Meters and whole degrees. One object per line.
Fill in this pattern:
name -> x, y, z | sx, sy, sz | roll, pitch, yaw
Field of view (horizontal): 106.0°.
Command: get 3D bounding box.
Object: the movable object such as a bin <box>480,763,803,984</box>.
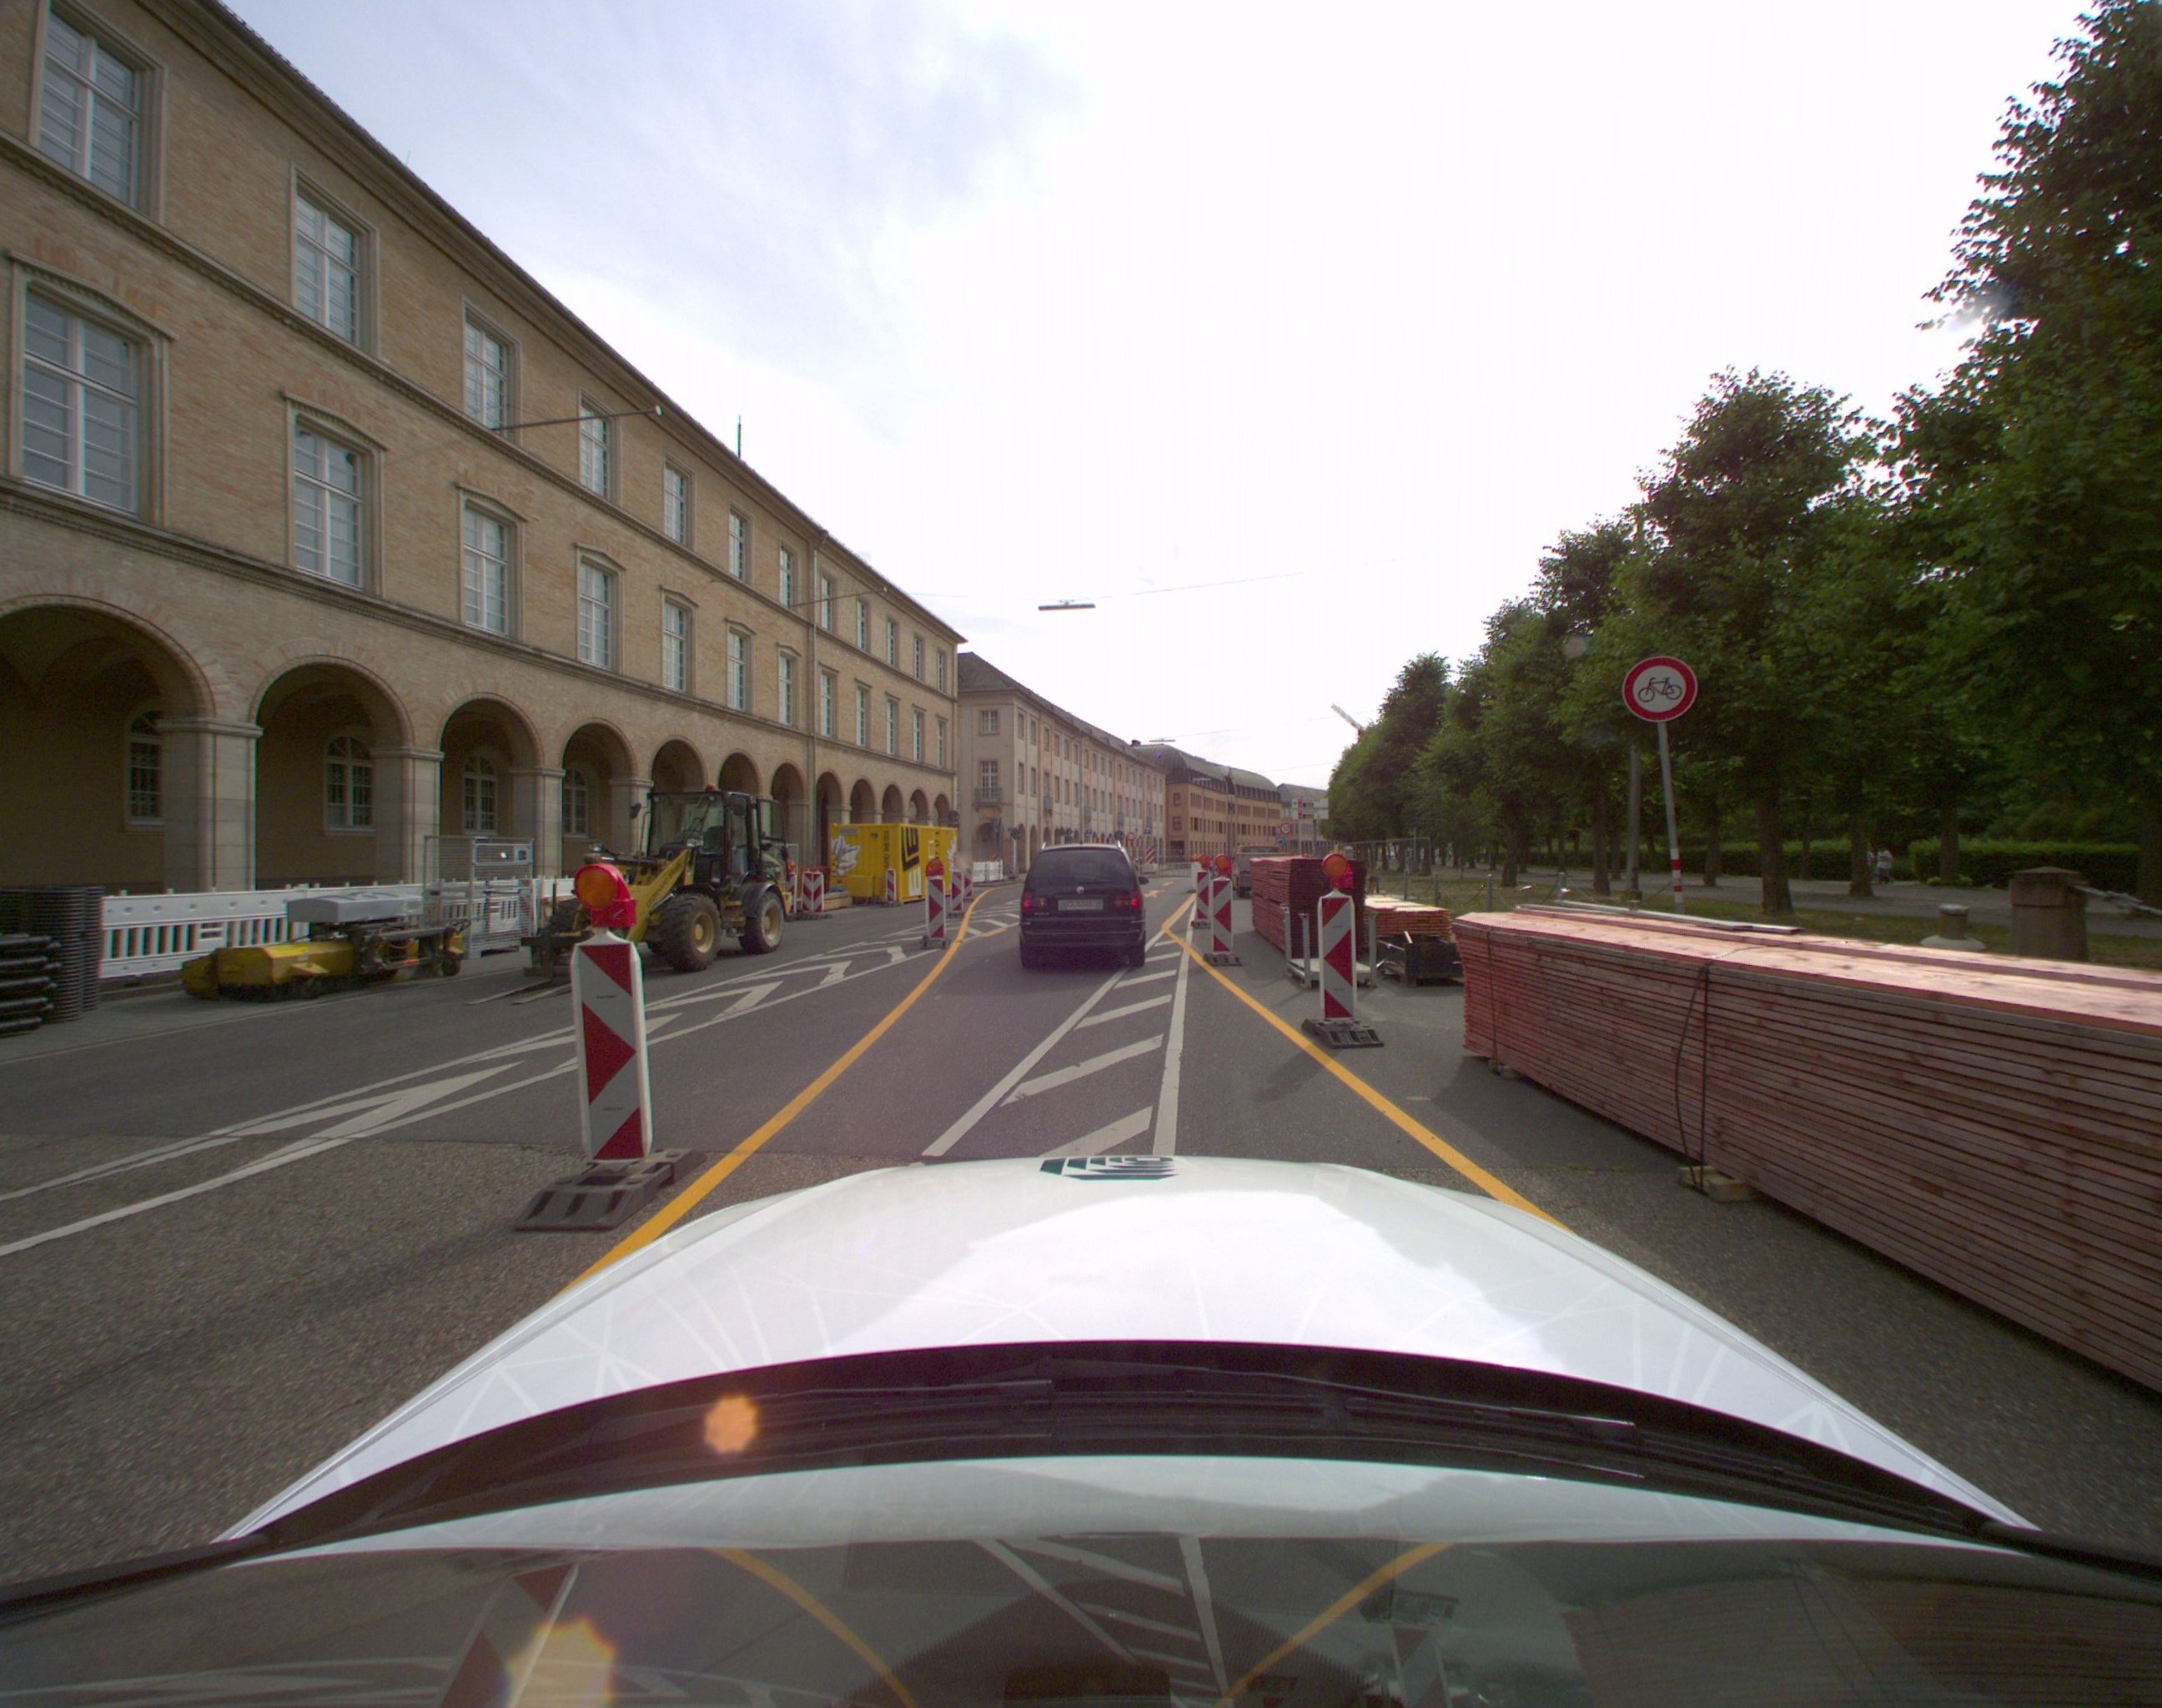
movable object such as a bin -> -6.249, 0.260, 12.390 | 2.106, 2.718, 4.625 | -1, 0, 4

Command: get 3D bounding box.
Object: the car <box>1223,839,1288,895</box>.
car -> 6.858, 0.441, 32.424 | 1.984, 2.013, 4.351 | -1, 2, 4

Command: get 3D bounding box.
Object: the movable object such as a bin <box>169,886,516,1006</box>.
movable object such as a bin -> -9.230, 1.082, 10.482 | 1.798, 1.124, 2.753 | -1, 2, 6

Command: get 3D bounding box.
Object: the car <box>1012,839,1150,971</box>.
car -> 0.083, 0.667, 12.732 | 1.786, 1.708, 4.133 | -1, 0, 2
